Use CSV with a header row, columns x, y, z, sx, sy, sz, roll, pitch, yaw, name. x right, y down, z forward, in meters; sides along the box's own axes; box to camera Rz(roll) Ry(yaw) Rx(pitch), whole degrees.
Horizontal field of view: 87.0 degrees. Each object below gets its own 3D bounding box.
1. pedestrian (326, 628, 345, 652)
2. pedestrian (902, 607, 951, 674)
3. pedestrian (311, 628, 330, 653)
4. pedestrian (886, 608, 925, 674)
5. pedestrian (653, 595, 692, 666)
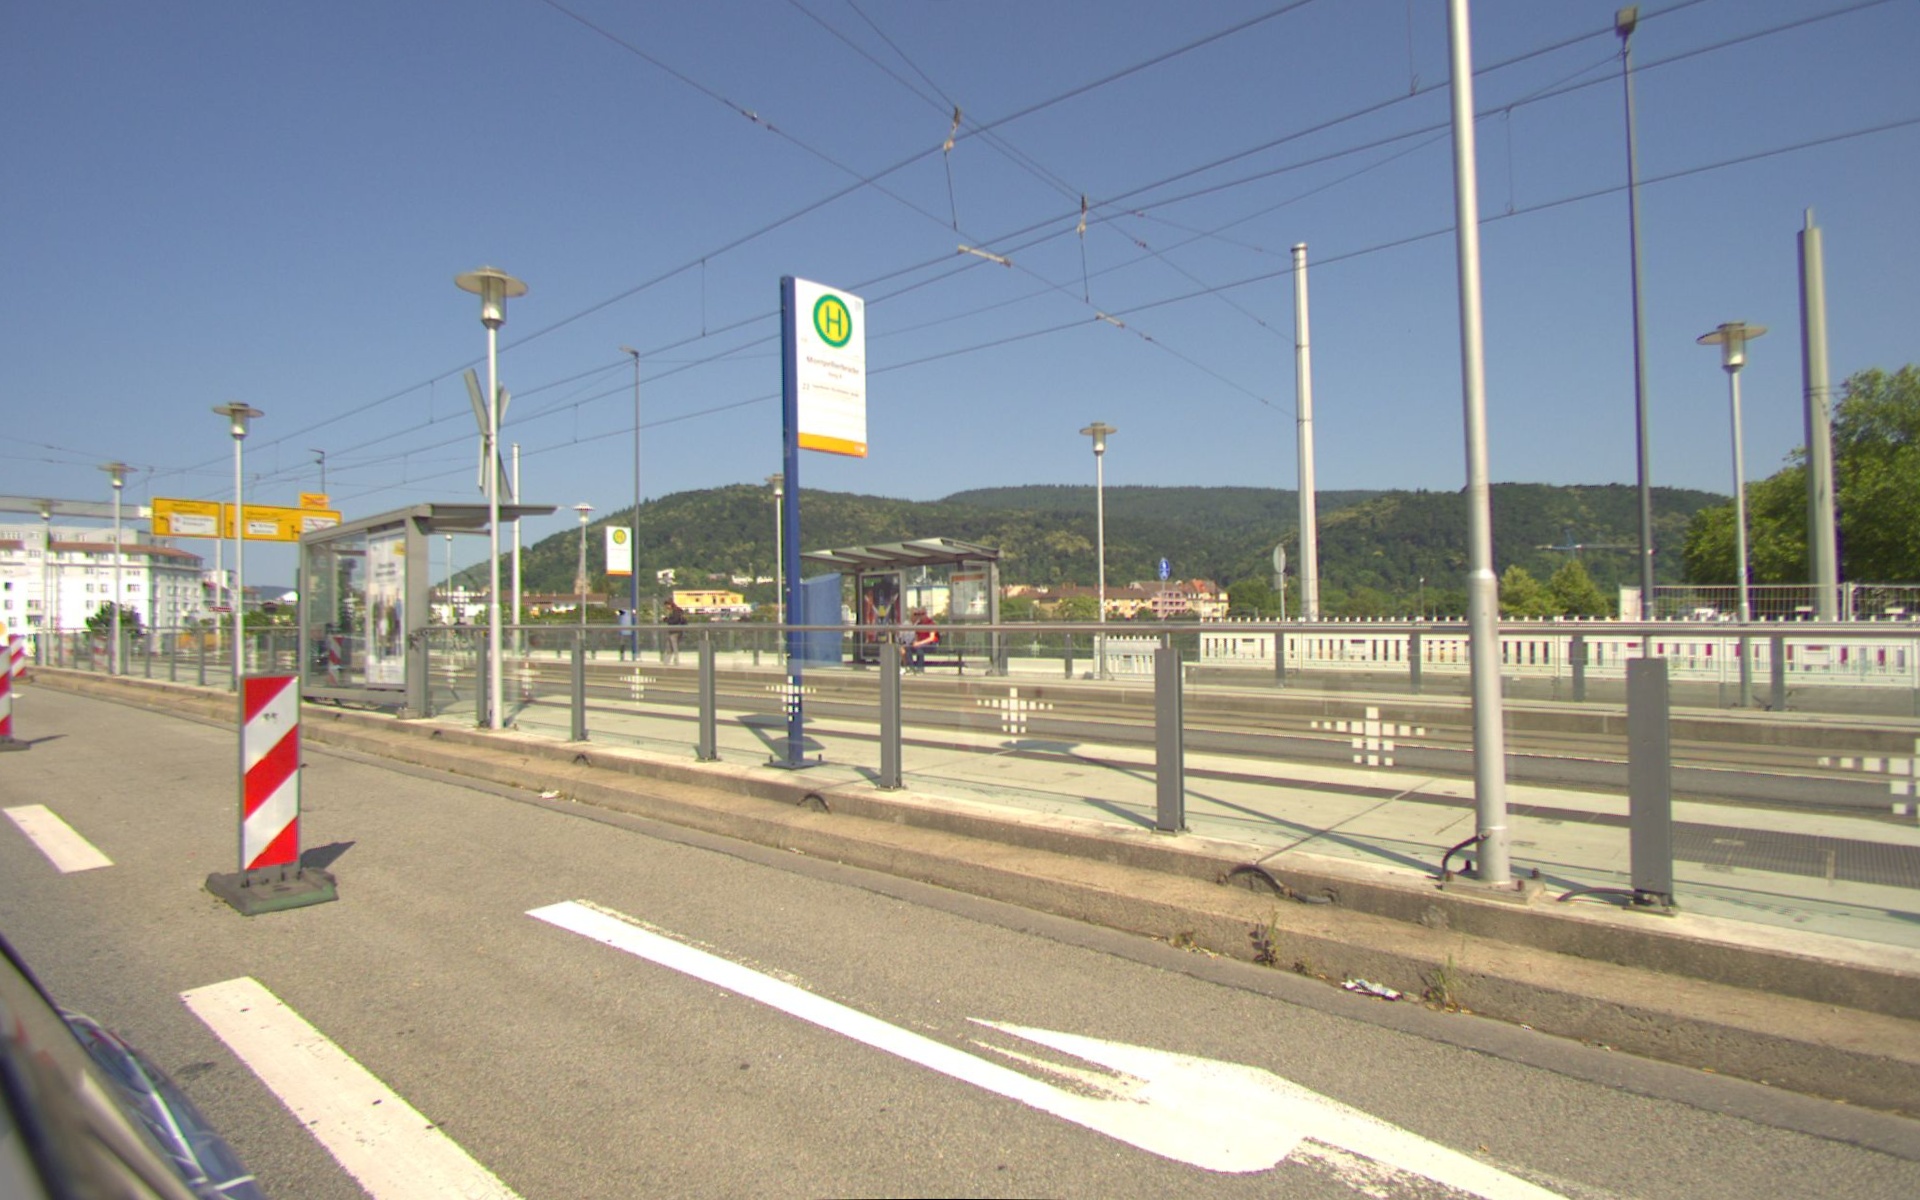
x,y,z,sx,sy,sz,roll,pitch,yaw,name
-42.362,2.712,68.649,0.887,1.556,0.713,-3,0,37,pedestrian
-0.654,0.783,19.815,0.697,1.283,0.641,-2,-2,43,pedestrian
-42.937,2.712,67.987,0.893,1.654,0.737,-3,0,37,pedestrian
-1.083,0.805,20.211,0.453,1.283,0.641,-2,-2,43,pedestrian
-6.872,0.727,24.187,0.652,1.667,0.740,0,-2,-39,pedestrian
